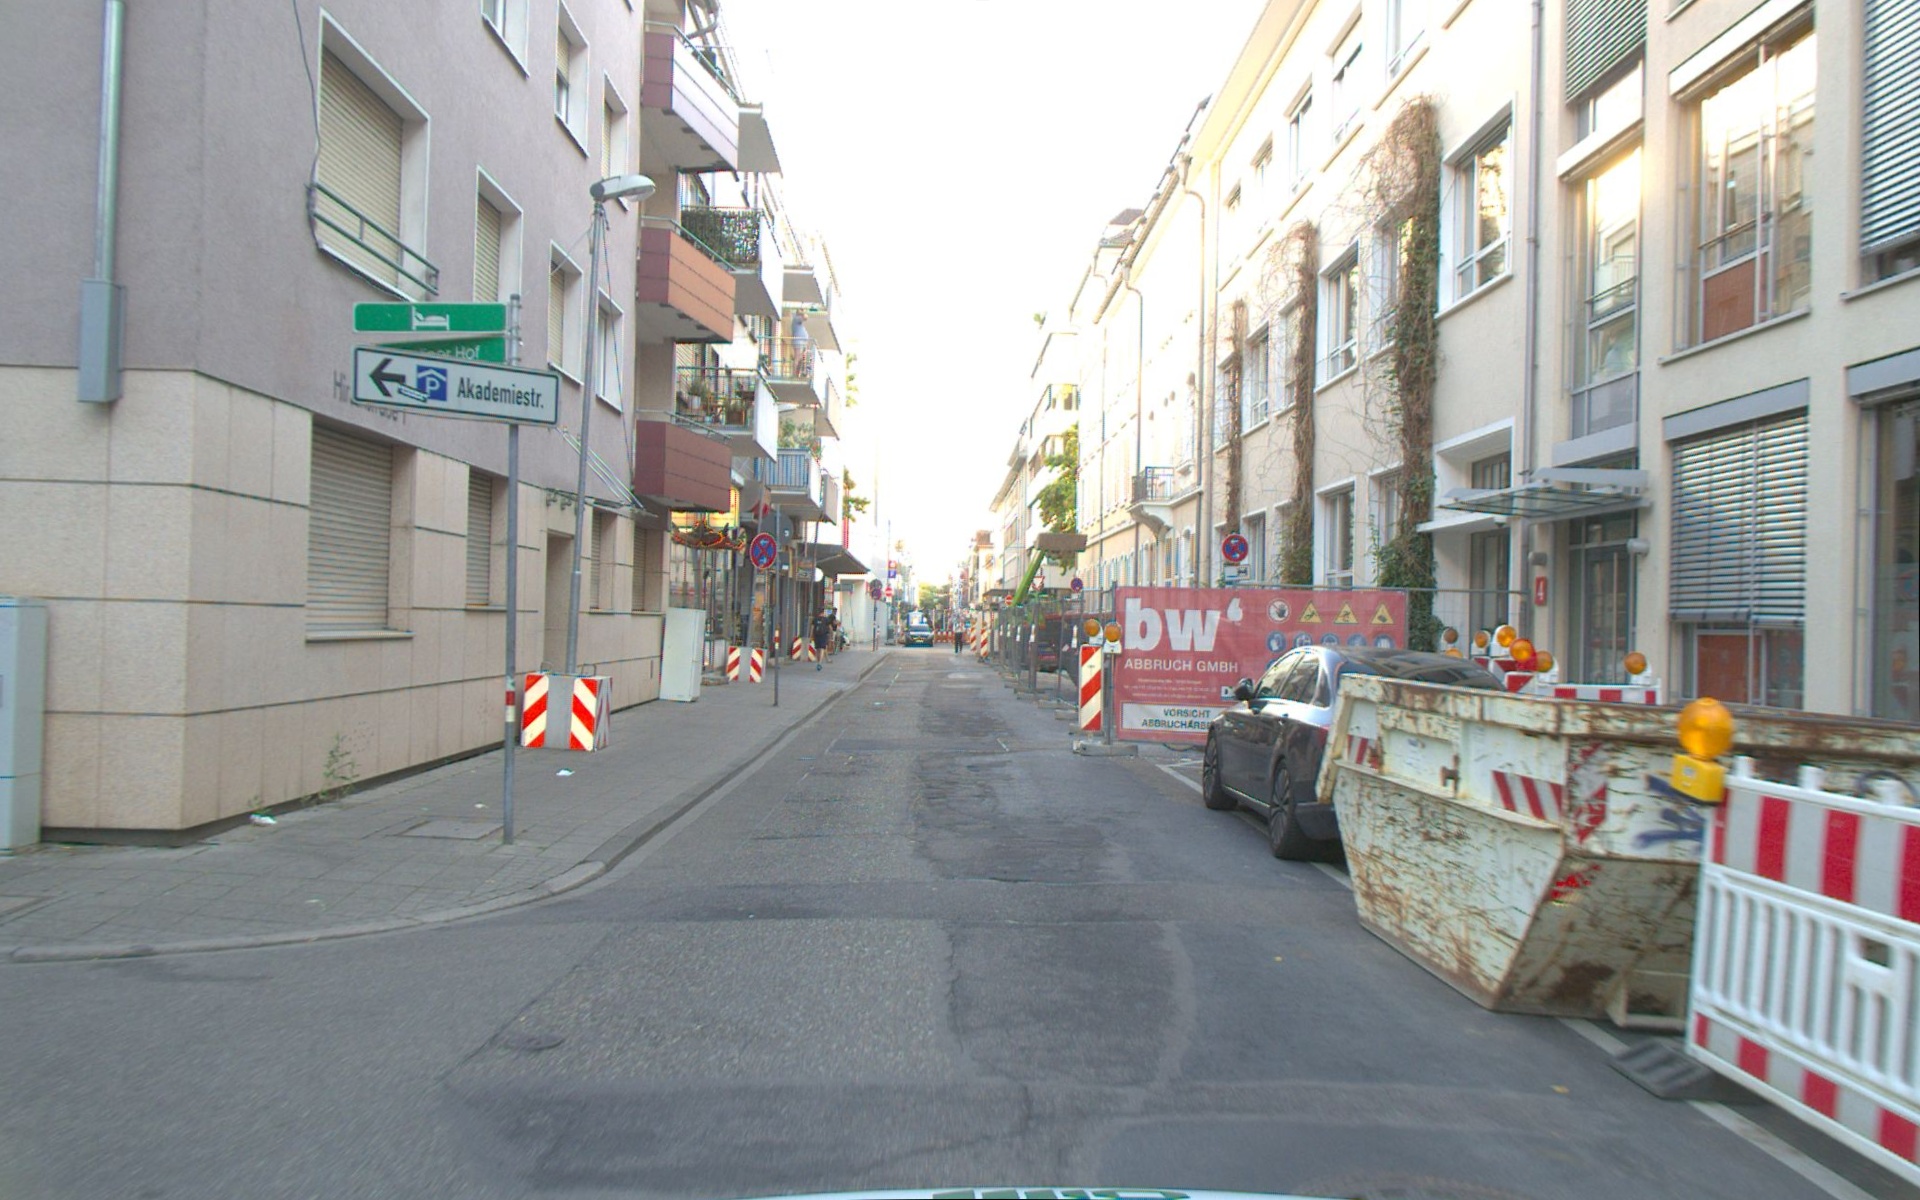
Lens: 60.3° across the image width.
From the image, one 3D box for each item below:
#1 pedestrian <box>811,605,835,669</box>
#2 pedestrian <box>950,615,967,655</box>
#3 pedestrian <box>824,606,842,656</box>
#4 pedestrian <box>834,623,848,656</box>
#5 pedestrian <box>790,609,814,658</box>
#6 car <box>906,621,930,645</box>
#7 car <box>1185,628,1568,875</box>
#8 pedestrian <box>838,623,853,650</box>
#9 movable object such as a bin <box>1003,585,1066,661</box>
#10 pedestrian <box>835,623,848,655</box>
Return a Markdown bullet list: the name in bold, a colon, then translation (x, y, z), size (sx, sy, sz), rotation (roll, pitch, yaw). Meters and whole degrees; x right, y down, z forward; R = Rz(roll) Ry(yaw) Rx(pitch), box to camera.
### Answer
- **pedestrian**: translation (-3.990, 1.074, 48.185), size (0.616, 1.840, 0.647), rotation (1, -1, 0)
- **pedestrian**: translation (-0.071, 1.538, 73.467), size (0.705, 1.770, 0.647), rotation (1, -1, -4)
- **pedestrian**: translation (-4.941, 1.192, 64.416), size (0.563, 1.919, 0.653), rotation (1, -1, -17)
- **pedestrian**: translation (-5.128, 1.701, 71.380), size (0.547, 1.415, 0.892), rotation (1, -1, -1)
- **pedestrian**: translation (-5.209, 1.105, 54.523), size (0.635, 1.592, 0.628), rotation (1, -1, -16)
- **car**: translation (-2.667, 2.077, 104.904), size (1.444, 1.422, 3.331), rotation (1, -1, -1)
- **car**: translation (2.877, 0.974, 12.449), size (1.659, 1.431, 4.478), rotation (2, -1, -1)
- **pedestrian**: translation (-5.235, 1.660, 75.682), size (0.605, 1.192, 0.787), rotation (1, -1, -2)
- **movable object such as a bin**: translation (3.287, 0.995, 73.632), size (2.420, 3.185, 4.296), rotation (2, 0, -1)
- **pedestrian**: translation (-5.204, 1.714, 72.641), size (0.531, 1.412, 0.625), rotation (1, -1, -1)
